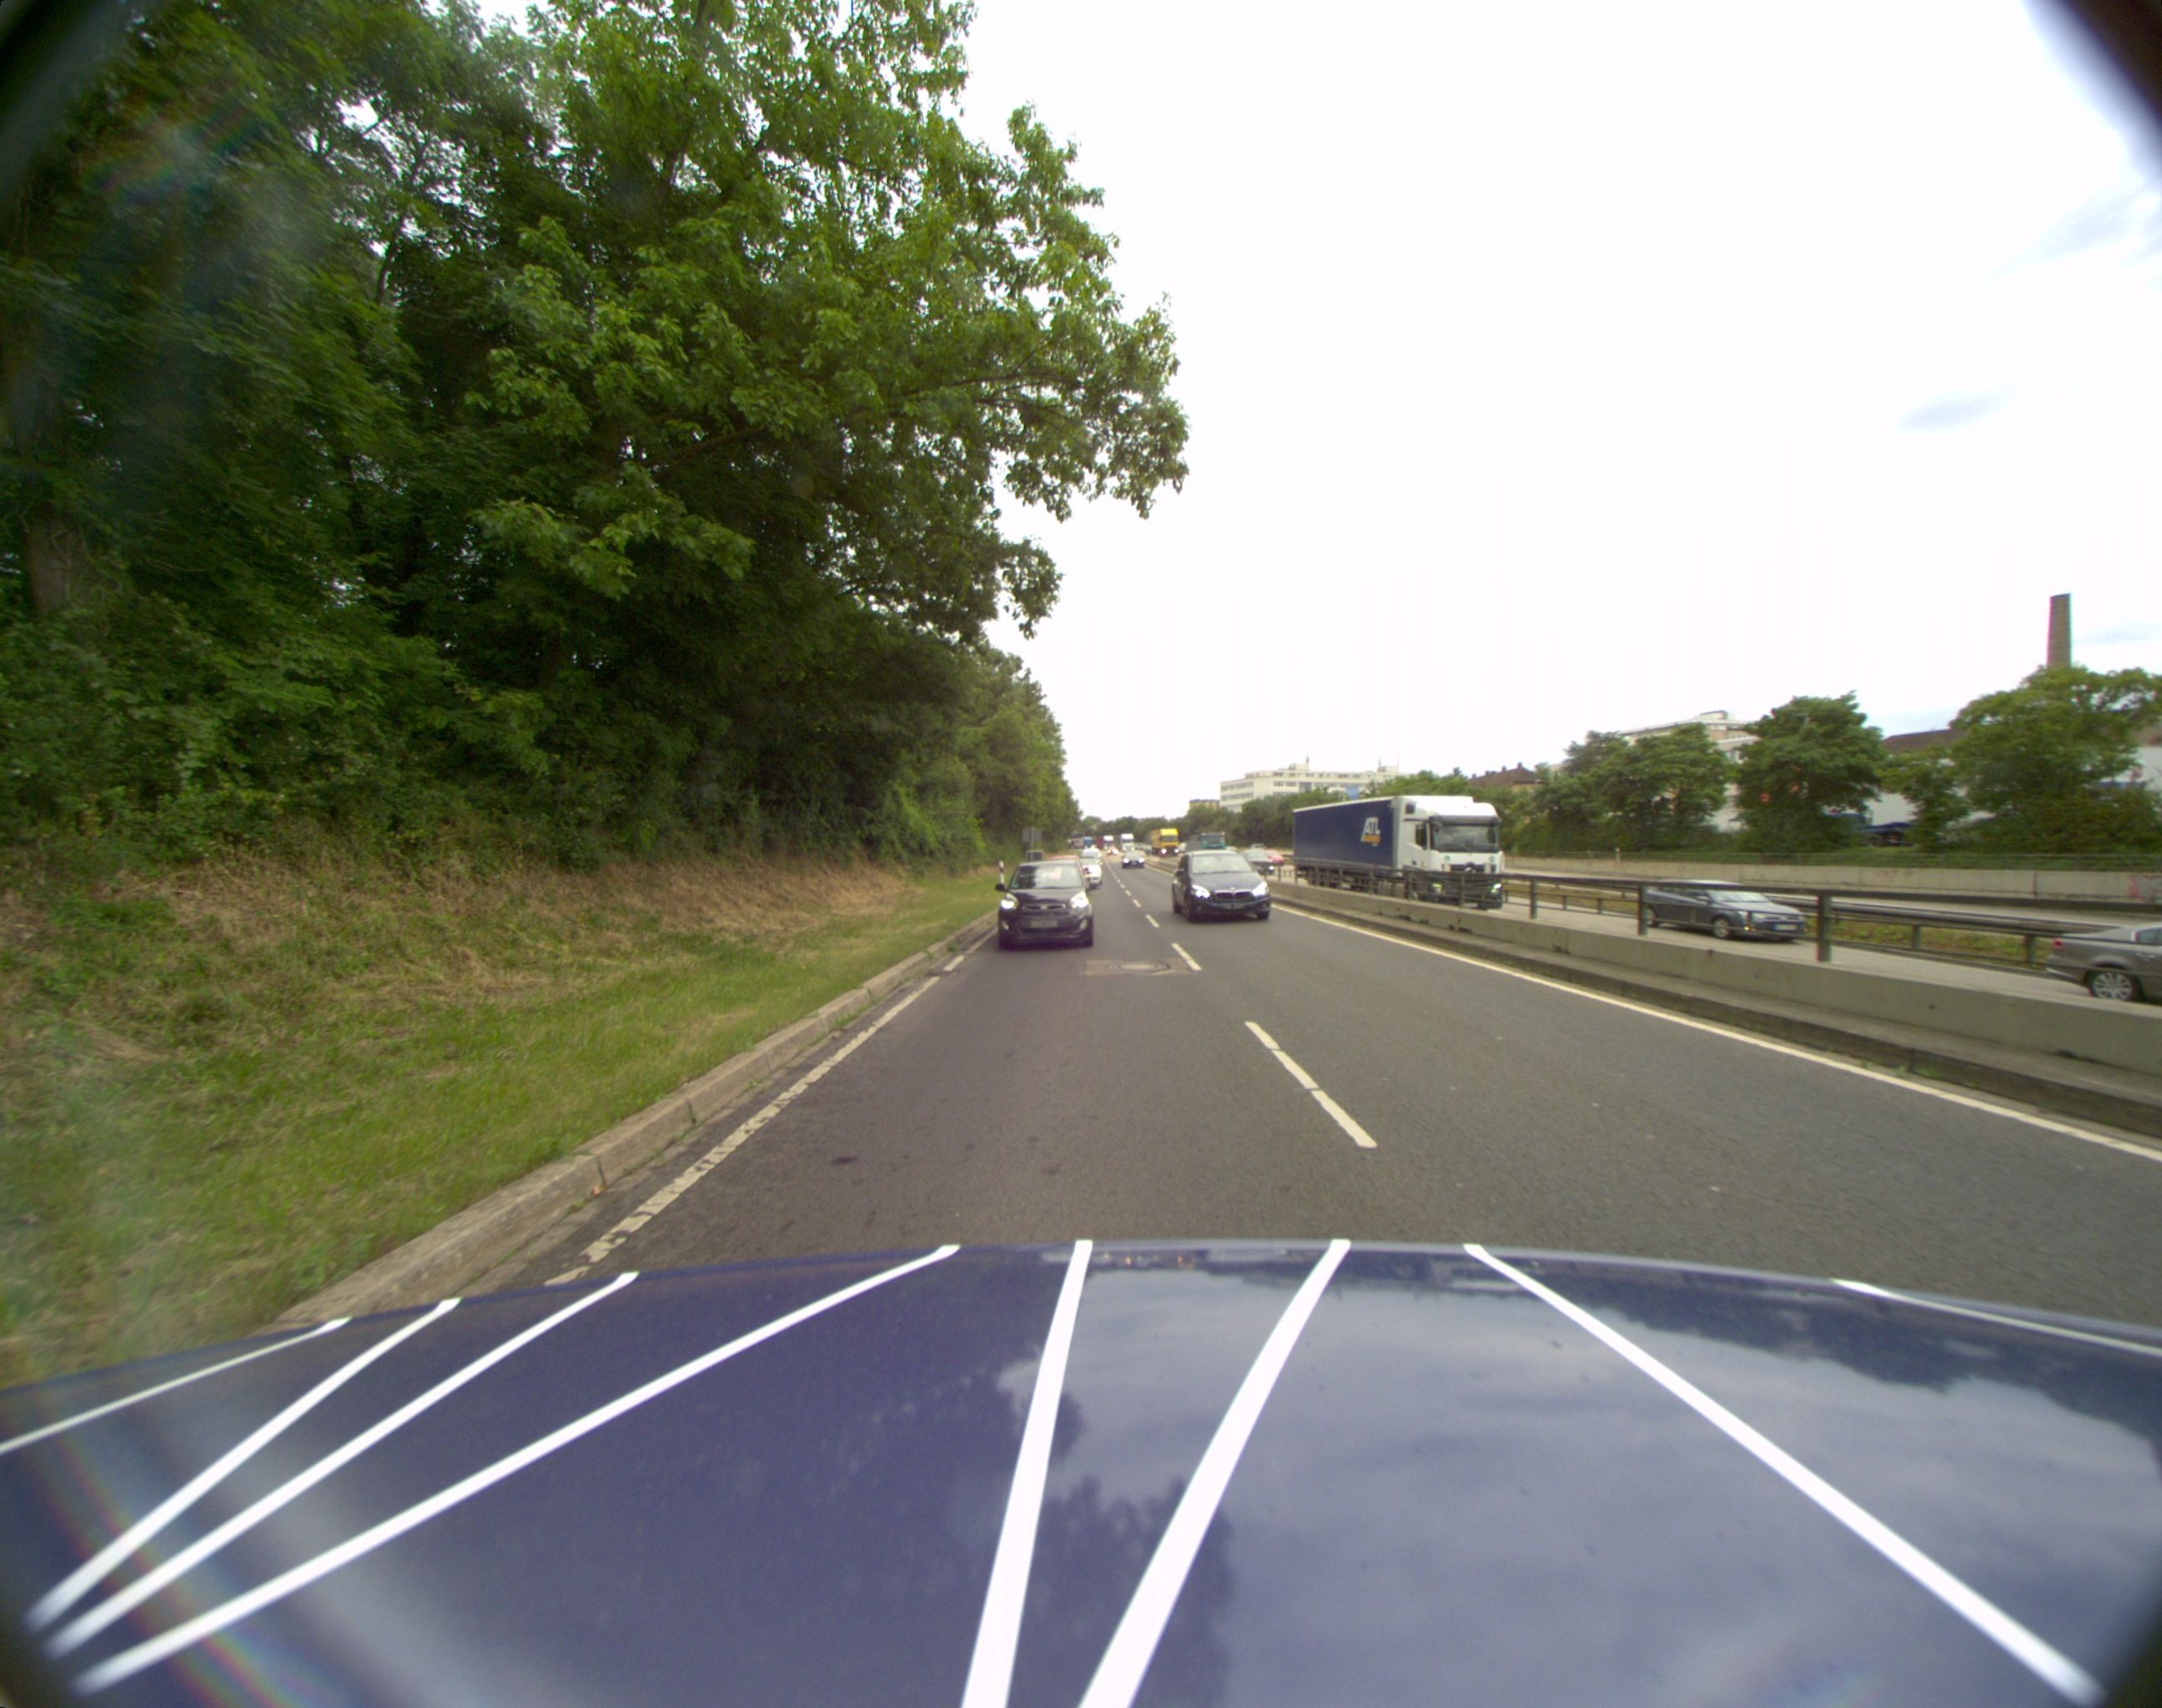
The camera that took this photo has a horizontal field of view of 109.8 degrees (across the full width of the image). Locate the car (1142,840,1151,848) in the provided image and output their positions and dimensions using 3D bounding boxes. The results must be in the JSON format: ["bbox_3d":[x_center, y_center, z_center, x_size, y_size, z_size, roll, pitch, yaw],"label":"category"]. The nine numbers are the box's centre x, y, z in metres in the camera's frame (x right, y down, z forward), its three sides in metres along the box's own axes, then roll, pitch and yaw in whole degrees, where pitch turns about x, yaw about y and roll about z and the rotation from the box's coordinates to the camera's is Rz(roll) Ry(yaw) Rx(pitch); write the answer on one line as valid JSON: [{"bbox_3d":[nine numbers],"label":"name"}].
[{"bbox_3d":[16.055,-2.522,185.764,1.998,2.002,3.999,0,1,0],"label":"car"}]

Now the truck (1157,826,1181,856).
[{"bbox_3d":[12.953,-1.937,112.416,2.893,4.319,6.518,0,1,1],"label":"truck"}]

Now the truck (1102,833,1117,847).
[{"bbox_3d":[8.199,-3.992,219.418,2.532,4.013,13.769,0,1,-5],"label":"truck"}]

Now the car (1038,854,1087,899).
[{"bbox_3d":[-0.604,0.769,27.812,1.627,1.433,3.999,-2,1,1],"label":"car"}]

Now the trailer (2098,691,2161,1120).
[{"bbox_3d":[11.355,0.593,0.213,2.658,4.013,14.552,0,1,1],"label":"trailer"}]

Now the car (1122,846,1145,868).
[{"bbox_3d":[4.643,0.215,67.710,1.769,1.786,4.577,-2,1,1],"label":"car"}]

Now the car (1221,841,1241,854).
[{"bbox_3d":[18.491,-0.808,93.668,1.627,1.433,3.999,-2,1,1],"label":"car"}]

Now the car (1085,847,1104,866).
[{"bbox_3d":[1.293,0.202,75.400,1.769,1.786,4.577,-2,1,1],"label":"car"}]

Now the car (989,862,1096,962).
[{"bbox_3d":[-0.575,0.930,13.917,1.627,1.433,3.999,-2,1,1],"label":"car"}]

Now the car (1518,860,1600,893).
[{"bbox_3d":[23.904,1.084,38.148,1.628,1.433,3.896,0,1,0],"label":"car"}]

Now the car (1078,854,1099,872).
[{"bbox_3d":[0.647,0.759,65.115,1.627,1.337,3.999,-2,1,1],"label":"car"}]

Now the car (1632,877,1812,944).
[{"bbox_3d":[17.166,1.453,20.626,1.627,1.433,3.896,0,1,1],"label":"car"}]

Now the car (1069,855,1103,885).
[{"bbox_3d":[0.269,0.783,39.016,1.627,1.337,3.999,-2,1,1],"label":"car"}]

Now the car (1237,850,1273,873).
[{"bbox_3d":[12.141,0.508,53.160,1.627,1.433,3.999,-2,1,1],"label":"car"}]

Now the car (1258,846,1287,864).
[{"bbox_3d":[16.944,0.052,67.383,1.627,1.433,3.999,-2,1,1],"label":"car"}]

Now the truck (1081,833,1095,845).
[{"bbox_3d":[2.347,-5.179,257.403,2.533,4.013,13.766,0,1,-8],"label":"truck"}]

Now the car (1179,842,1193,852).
[{"bbox_3d":[17.004,-1.140,123.265,1.784,1.555,4.421,-2,1,1],"label":"car"}]

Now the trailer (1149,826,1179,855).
[{"bbox_3d":[13.018,-2.113,121.301,2.898,4.329,19.918,0,1,1],"label":"trailer"}]

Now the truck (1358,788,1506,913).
[{"bbox_3d":[12.369,-0.148,27.403,2.531,4.014,6.096,0,1,1],"label":"truck"}]

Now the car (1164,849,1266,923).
[{"bbox_3d":[3.192,0.692,18.971,1.784,1.555,4.421,-2,1,1],"label":"car"}]

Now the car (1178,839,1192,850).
[{"bbox_3d":[18.916,-1.755,137.937,1.998,2.002,3.999,-2,1,1],"label":"car"}]

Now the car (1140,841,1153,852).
[{"bbox_3d":[12.168,-1.437,140.568,1.998,2.002,3.999,-2,1,0],"label":"car"}]

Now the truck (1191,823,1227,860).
[{"bbox_3d":[12.848,-1.269,76.684,2.645,3.615,6.666,0,1,1],"label":"truck"}]

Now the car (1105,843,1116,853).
[{"bbox_3d":[5.380,-1.172,138.685,1.769,1.786,4.577,-2,1,1],"label":"car"}]

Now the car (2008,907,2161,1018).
[{"bbox_3d":[16.818,1.687,11.184,1.627,1.433,3.896,-2,1,1],"label":"car"}]

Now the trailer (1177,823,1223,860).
[{"bbox_3d":[12.940,-1.384,83.964,2.613,3.620,16.747,0,1,1],"label":"trailer"}]

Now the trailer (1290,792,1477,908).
[{"bbox_3d":[12.456,-0.245,33.606,2.531,4.013,14.781,0,1,1],"label":"trailer"}]

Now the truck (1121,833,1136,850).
[{"bbox_3d":[11.382,-3.073,183.021,2.957,4.013,13.776,0,1,0],"label":"truck"}]
